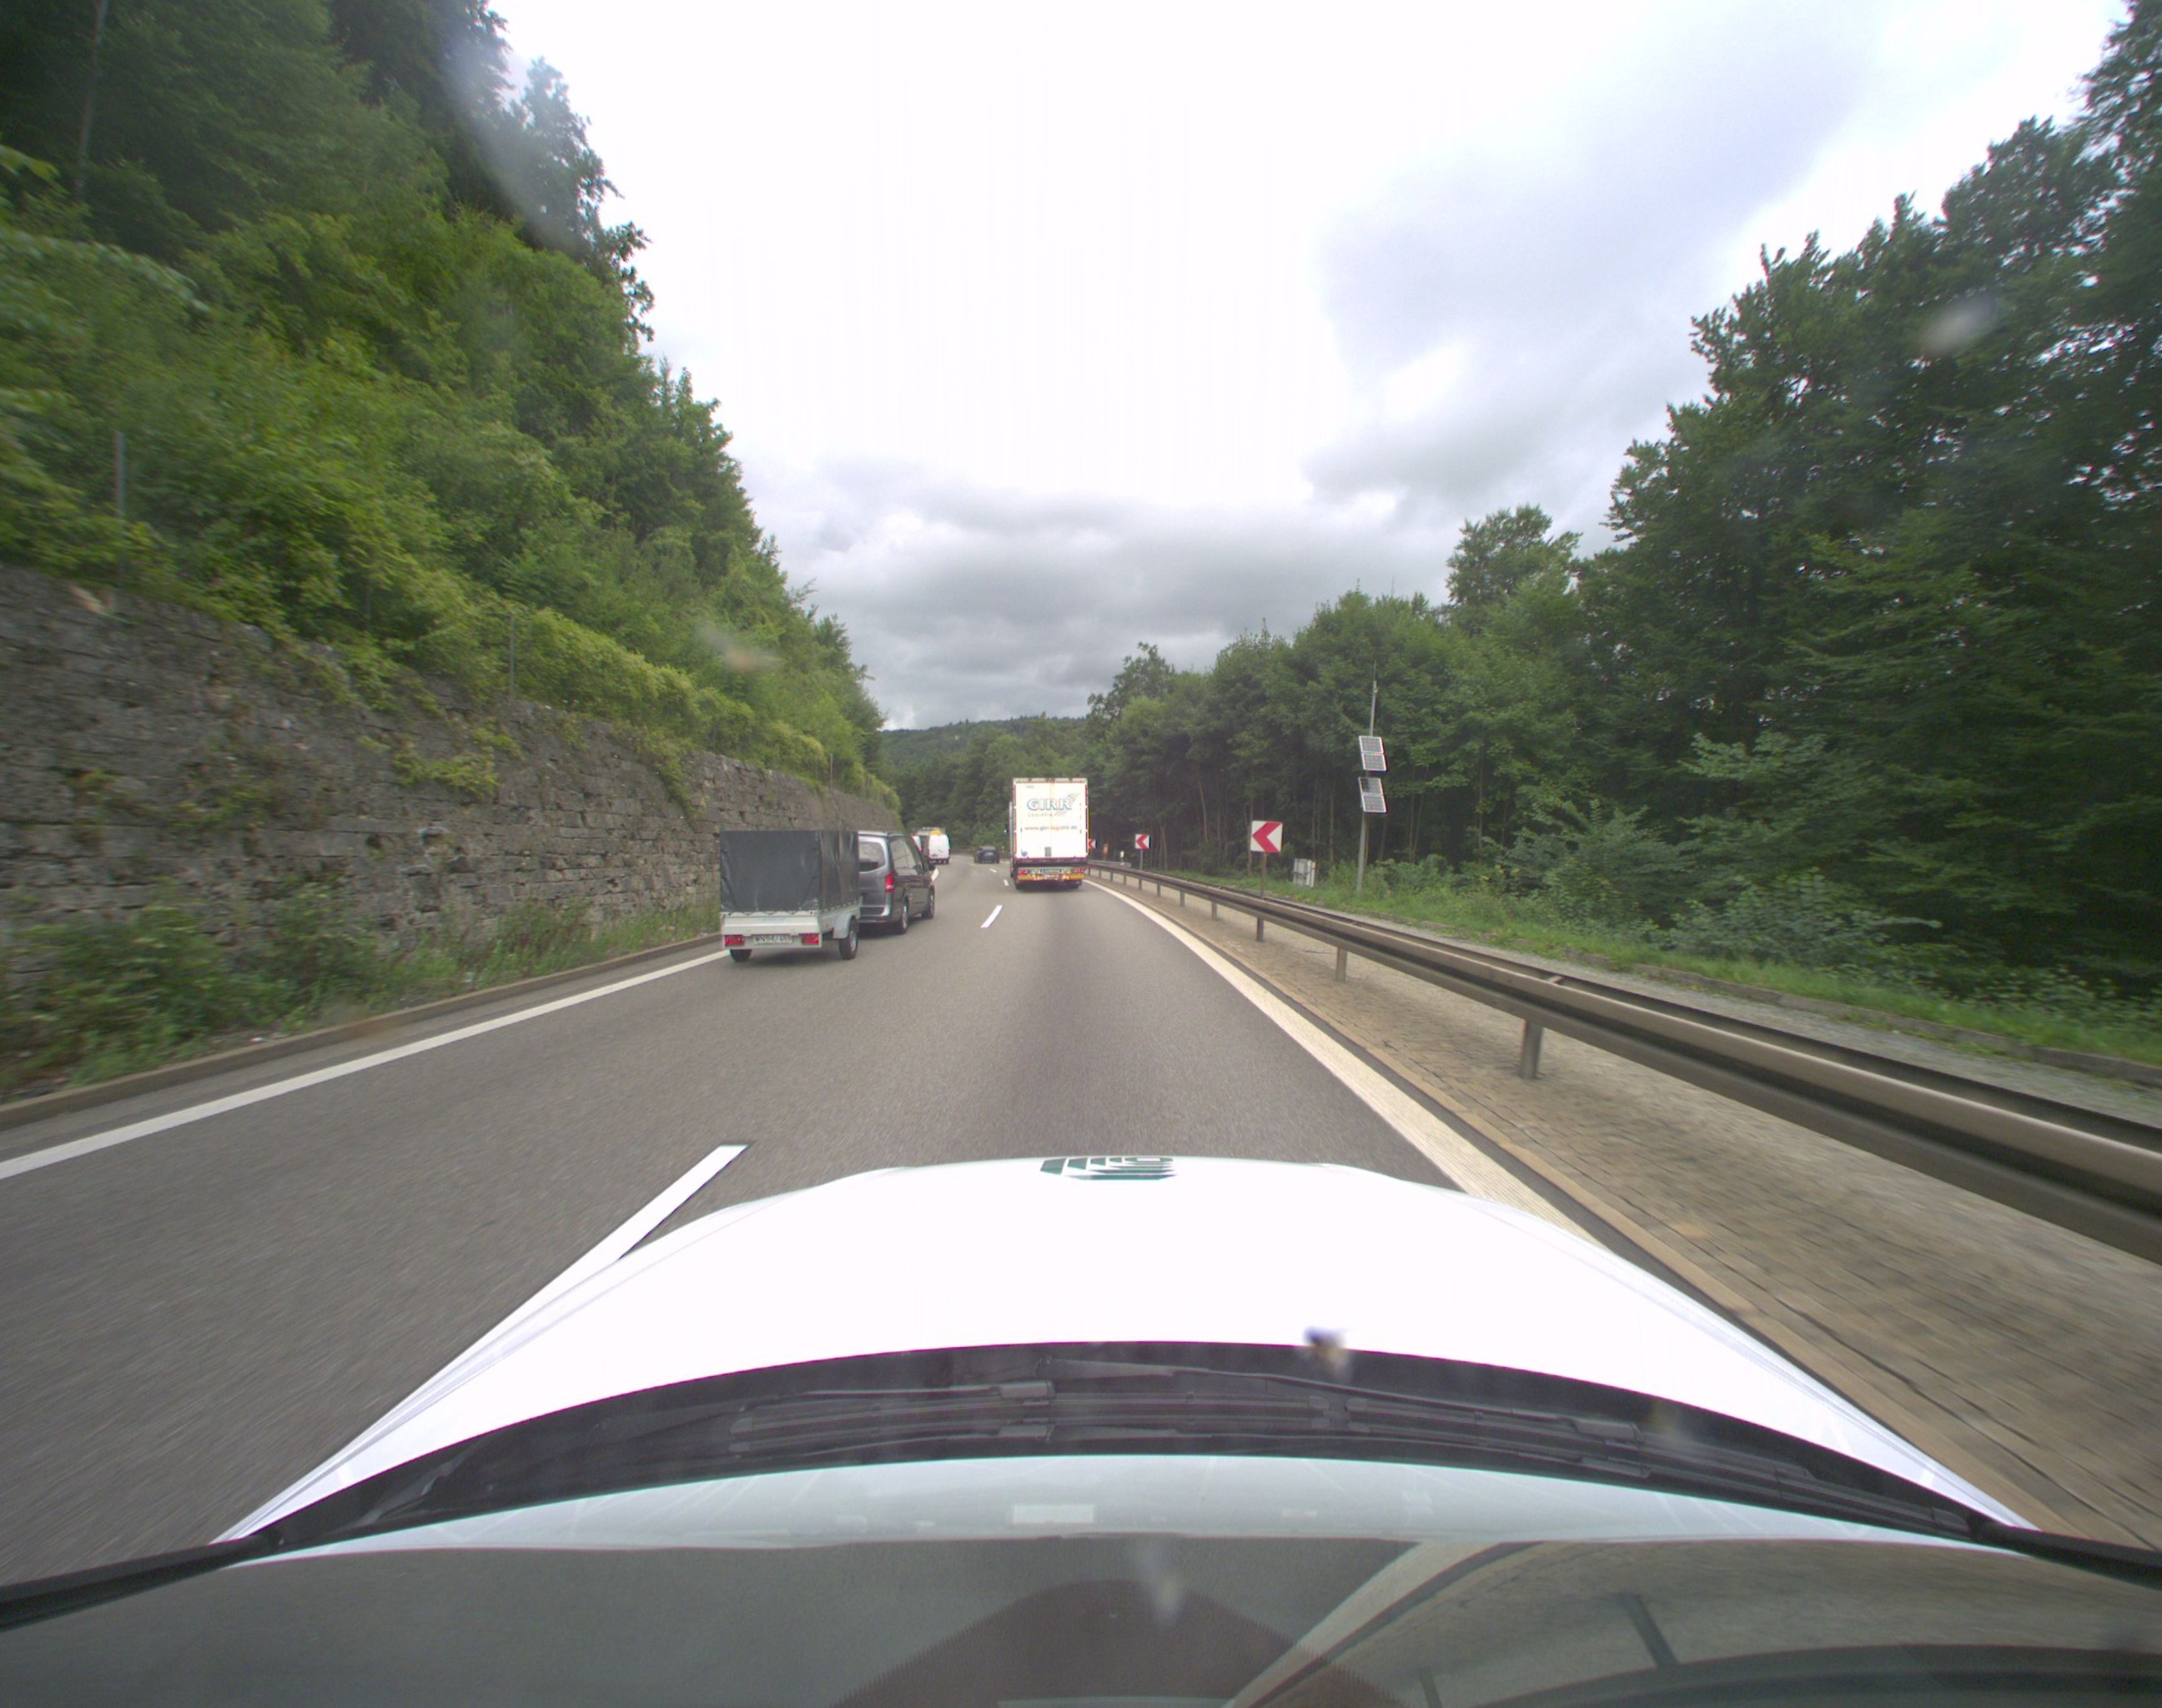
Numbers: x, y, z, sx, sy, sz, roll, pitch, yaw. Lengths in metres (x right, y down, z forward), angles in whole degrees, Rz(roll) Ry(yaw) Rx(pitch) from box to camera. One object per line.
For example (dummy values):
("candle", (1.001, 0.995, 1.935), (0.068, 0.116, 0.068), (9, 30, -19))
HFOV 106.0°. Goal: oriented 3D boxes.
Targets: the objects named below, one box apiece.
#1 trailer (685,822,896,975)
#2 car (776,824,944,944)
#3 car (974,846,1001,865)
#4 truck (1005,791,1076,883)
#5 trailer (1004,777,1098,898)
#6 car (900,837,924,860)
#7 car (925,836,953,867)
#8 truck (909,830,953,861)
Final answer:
("trailer", (-4.123, 0.556, 12.192), (1.965, 1.939, 3.428), (-1, 0, -2))
("car", (-4.221, 0.489, 16.616), (1.988, 2.013, 5.537), (-1, 0, -1))
("car", (-8.602, 0.136, 74.531), (1.996, 1.662, 3.982), (1, 0, -14))
("truck", (-2.148, -0.877, 39.990), (3.053, 3.985, 7.175), (2, 2, -5))
("trailer", (-1.547, -0.754, 33.594), (3.053, 3.985, 12.116), (2, 2, -5))
("car", (-20.654, -0.710, 99.598), (1.946, 2.672, 5.951), (1, 0, -20))
("car", (-13.331, -0.266, 76.035), (1.992, 2.672, 6.902), (2, 0, -14))
("truck", (-20.682, -1.216, 111.748), (3.070, 3.986, 13.595), (-2, 1, -23))
